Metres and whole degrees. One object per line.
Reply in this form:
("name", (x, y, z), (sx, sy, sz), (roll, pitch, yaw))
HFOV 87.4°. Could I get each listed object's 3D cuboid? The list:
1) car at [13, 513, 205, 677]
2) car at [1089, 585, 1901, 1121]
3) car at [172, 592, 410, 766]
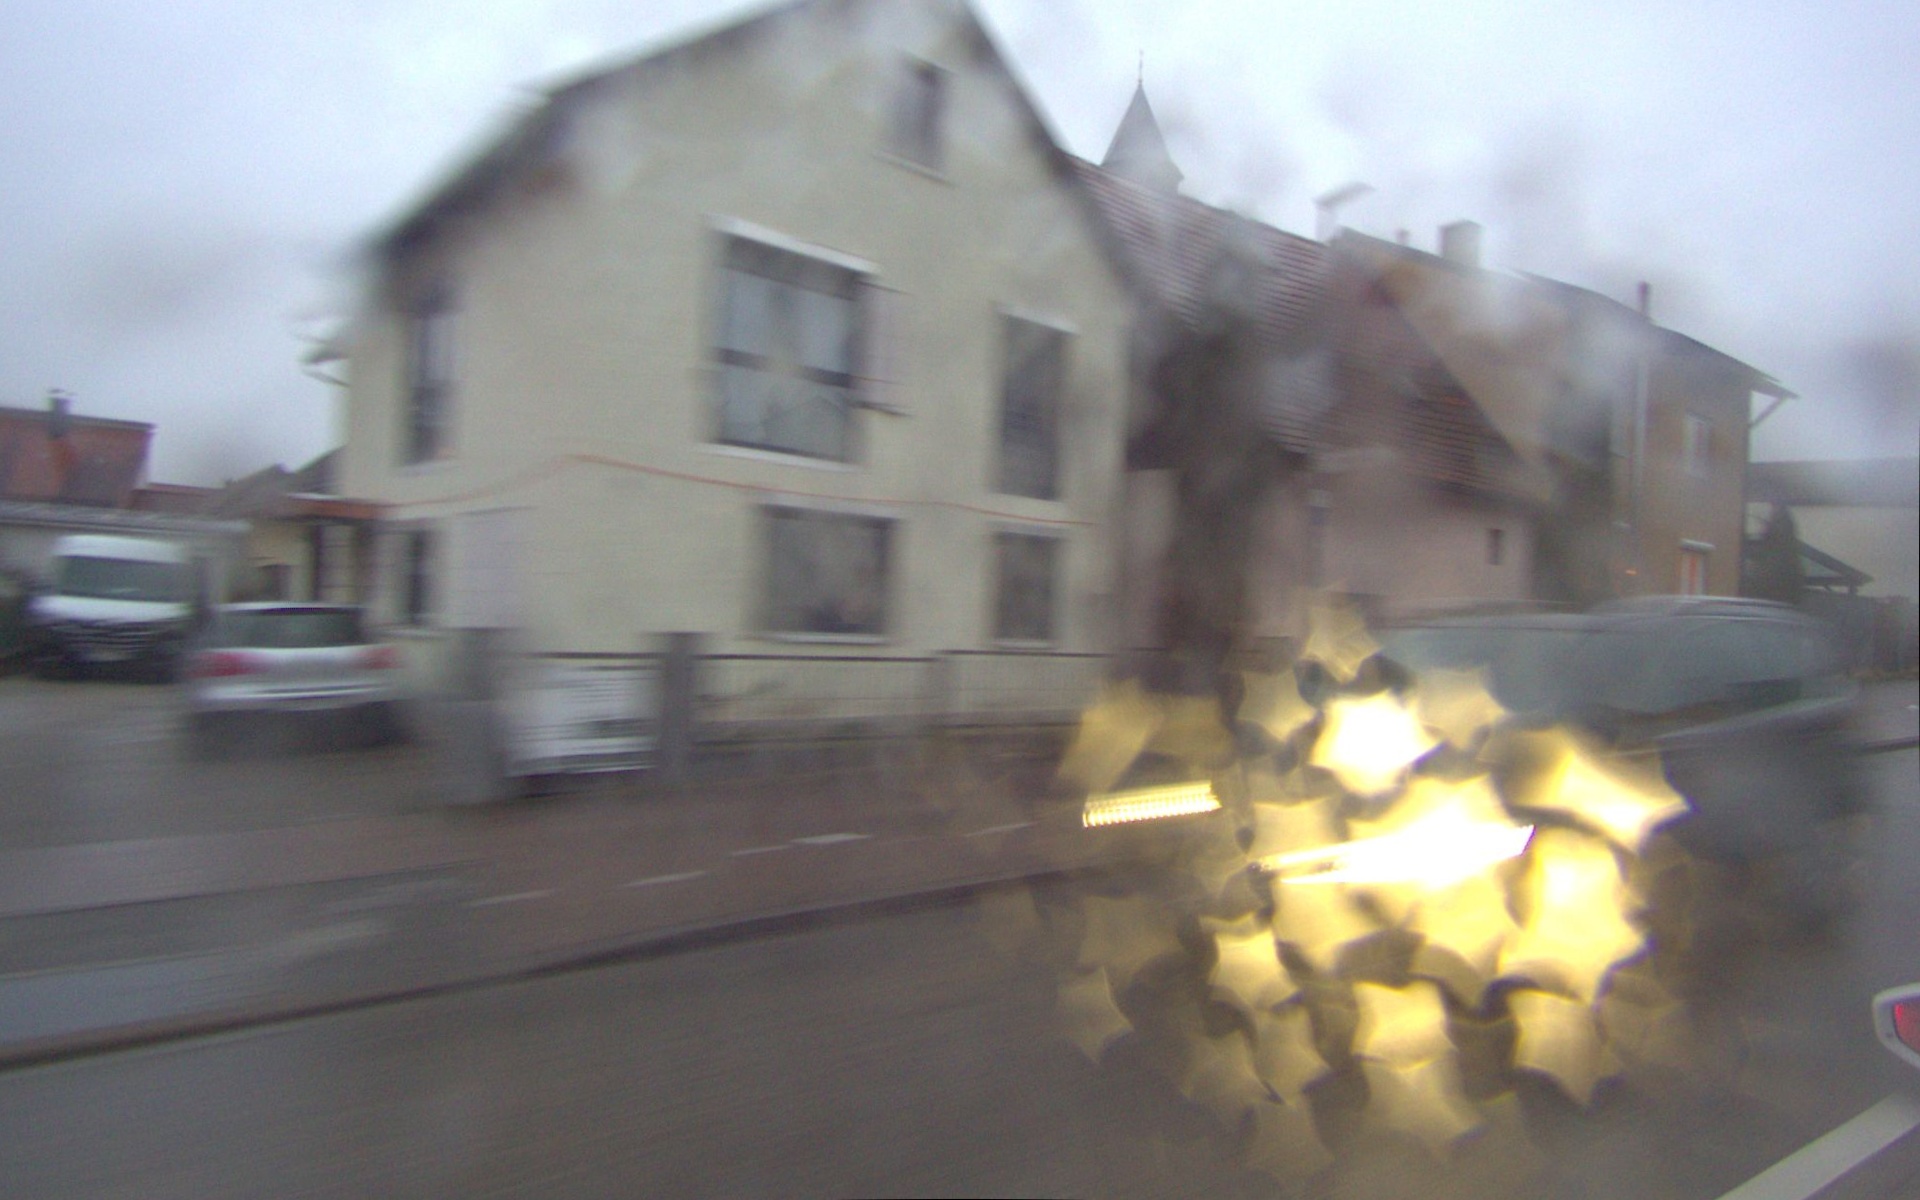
("car", (-15.530, -0.084, 18.652), (2.191, 2.573, 5.301), (1, 0, -35))
("car", (2.777, 0.792, 5.015), (3.957, 1.675, 1.901), (0, 1, -33))
("car", (-7.325, 0.687, 10.820), (1.804, 1.482, 3.955), (1, 0, -38))
